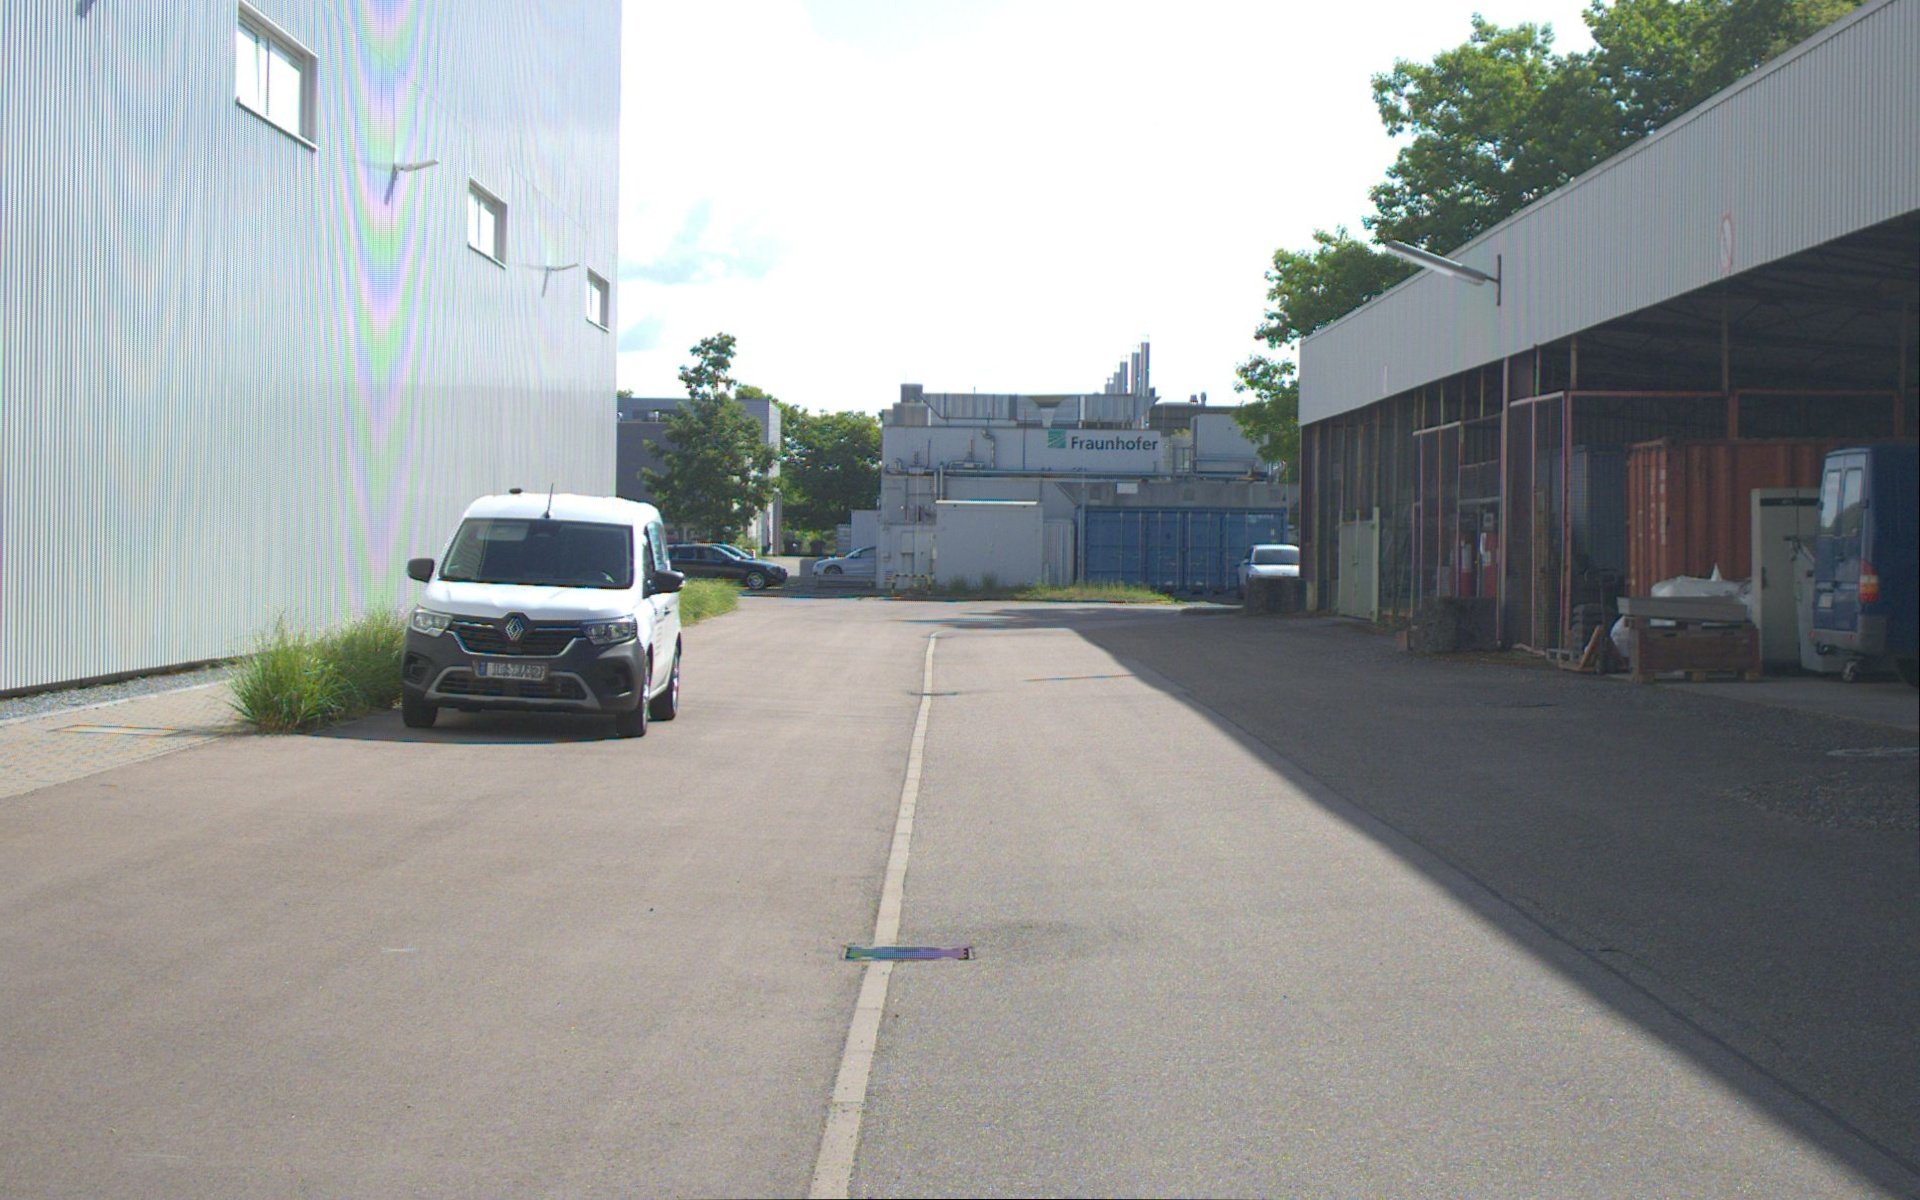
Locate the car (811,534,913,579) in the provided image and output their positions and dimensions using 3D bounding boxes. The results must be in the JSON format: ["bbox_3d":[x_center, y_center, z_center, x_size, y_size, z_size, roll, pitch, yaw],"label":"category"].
[{"bbox_3d":[-3.898,-1.725,136.807,3.987,1.592,1.848,2,-1,-1],"label":"car"}]

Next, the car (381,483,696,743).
[{"bbox_3d":[-3.176,0.041,26.709,1.819,1.781,4.405,2,1,0],"label":"car"}]

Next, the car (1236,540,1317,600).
[{"bbox_3d":[8.864,-0.860,96.433,1.962,1.559,4.059,2,1,2],"label":"car"}]

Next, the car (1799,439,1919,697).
[{"bbox_3d":[10.273,-0.199,31.948,4.433,2.302,1.915,2,-1,1],"label":"car"}]

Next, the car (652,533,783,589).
[{"bbox_3d":[-7.665,-1.226,108.951,3.987,1.592,1.742,2,-1,-1],"label":"car"}]
